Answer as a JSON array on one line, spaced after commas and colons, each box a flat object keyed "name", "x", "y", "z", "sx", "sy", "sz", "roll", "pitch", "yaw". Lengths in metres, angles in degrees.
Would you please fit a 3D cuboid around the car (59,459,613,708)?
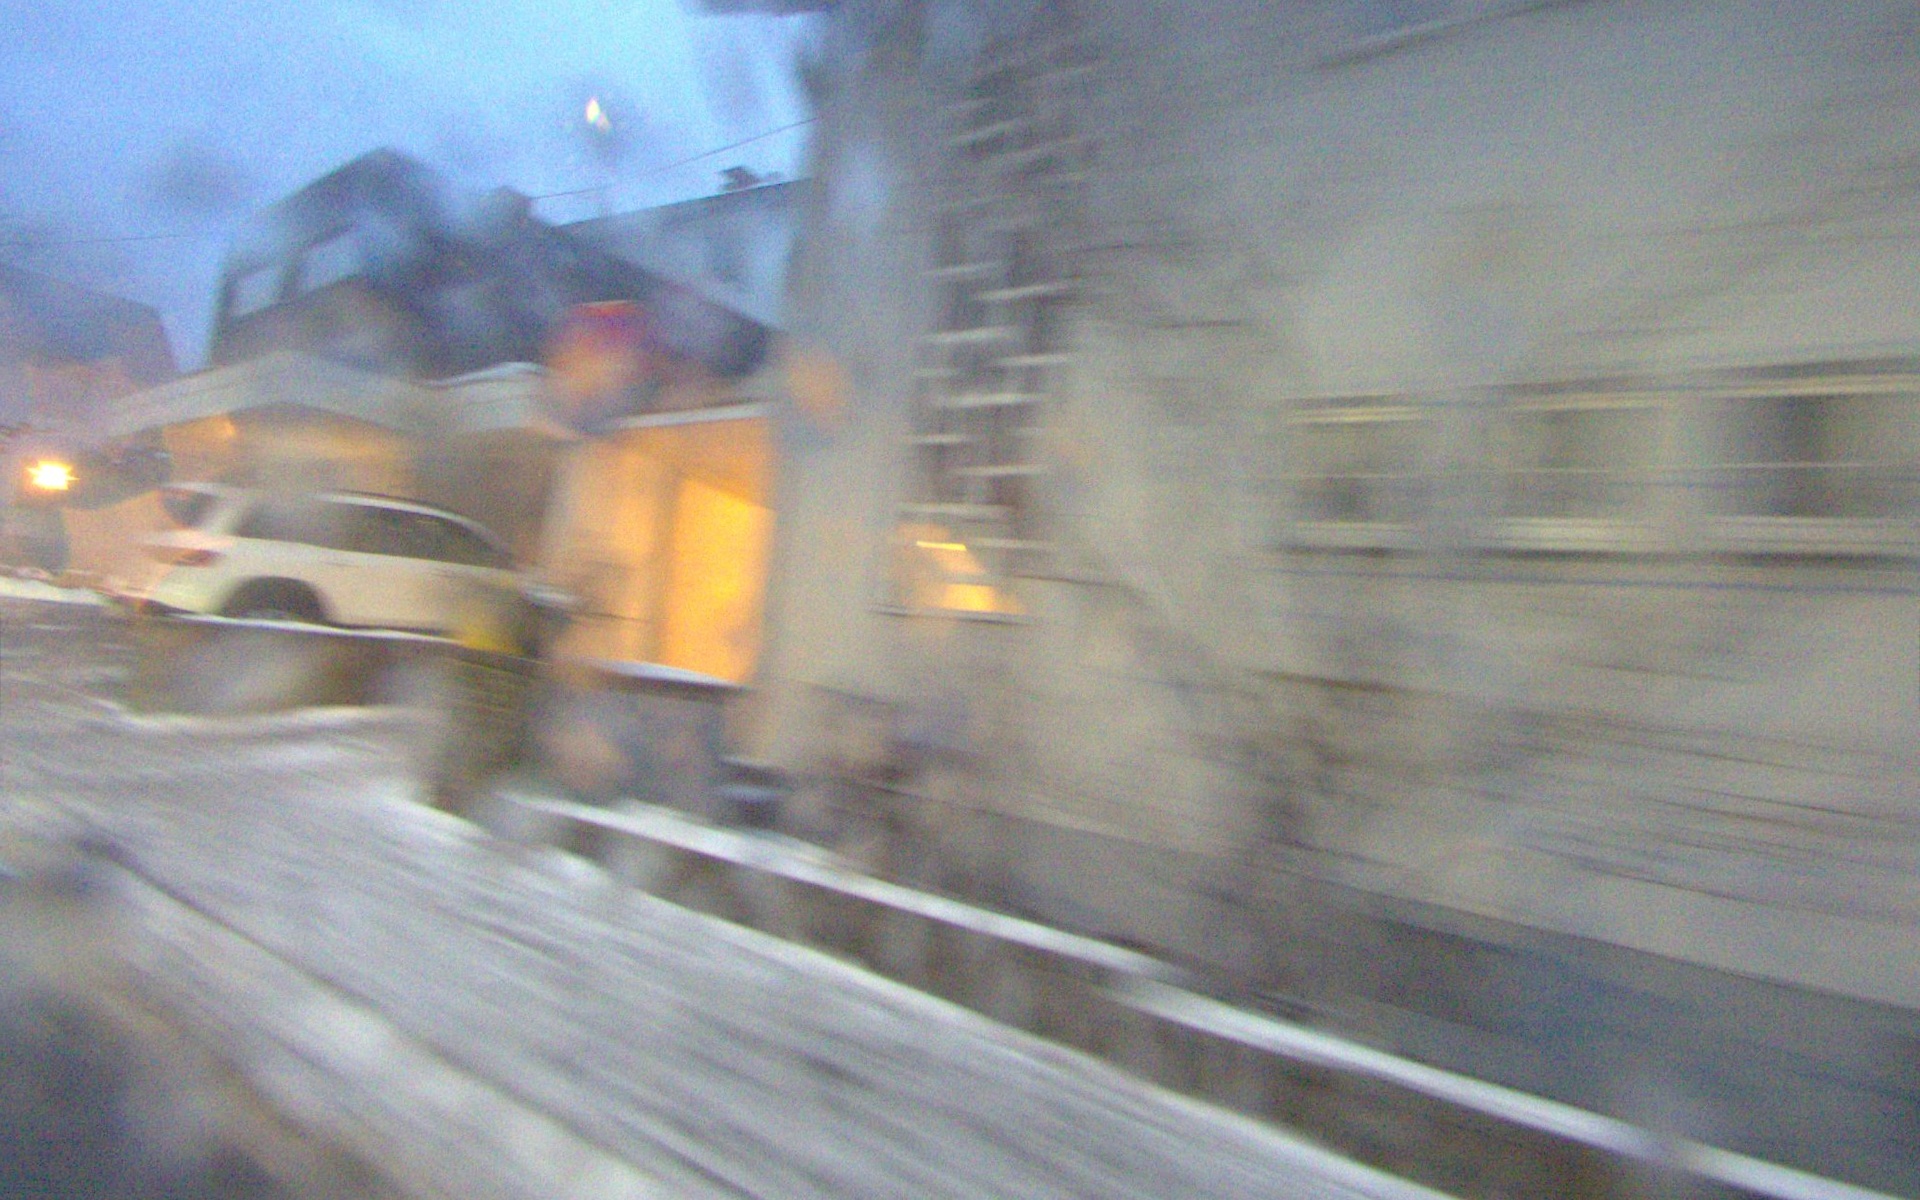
[{"name": "car", "x": -5.978, "y": -0.029, "z": 10.121, "sx": 1.883, "sy": 1.880, "sz": 4.207, "roll": 6, "pitch": -2, "yaw": 37}]
